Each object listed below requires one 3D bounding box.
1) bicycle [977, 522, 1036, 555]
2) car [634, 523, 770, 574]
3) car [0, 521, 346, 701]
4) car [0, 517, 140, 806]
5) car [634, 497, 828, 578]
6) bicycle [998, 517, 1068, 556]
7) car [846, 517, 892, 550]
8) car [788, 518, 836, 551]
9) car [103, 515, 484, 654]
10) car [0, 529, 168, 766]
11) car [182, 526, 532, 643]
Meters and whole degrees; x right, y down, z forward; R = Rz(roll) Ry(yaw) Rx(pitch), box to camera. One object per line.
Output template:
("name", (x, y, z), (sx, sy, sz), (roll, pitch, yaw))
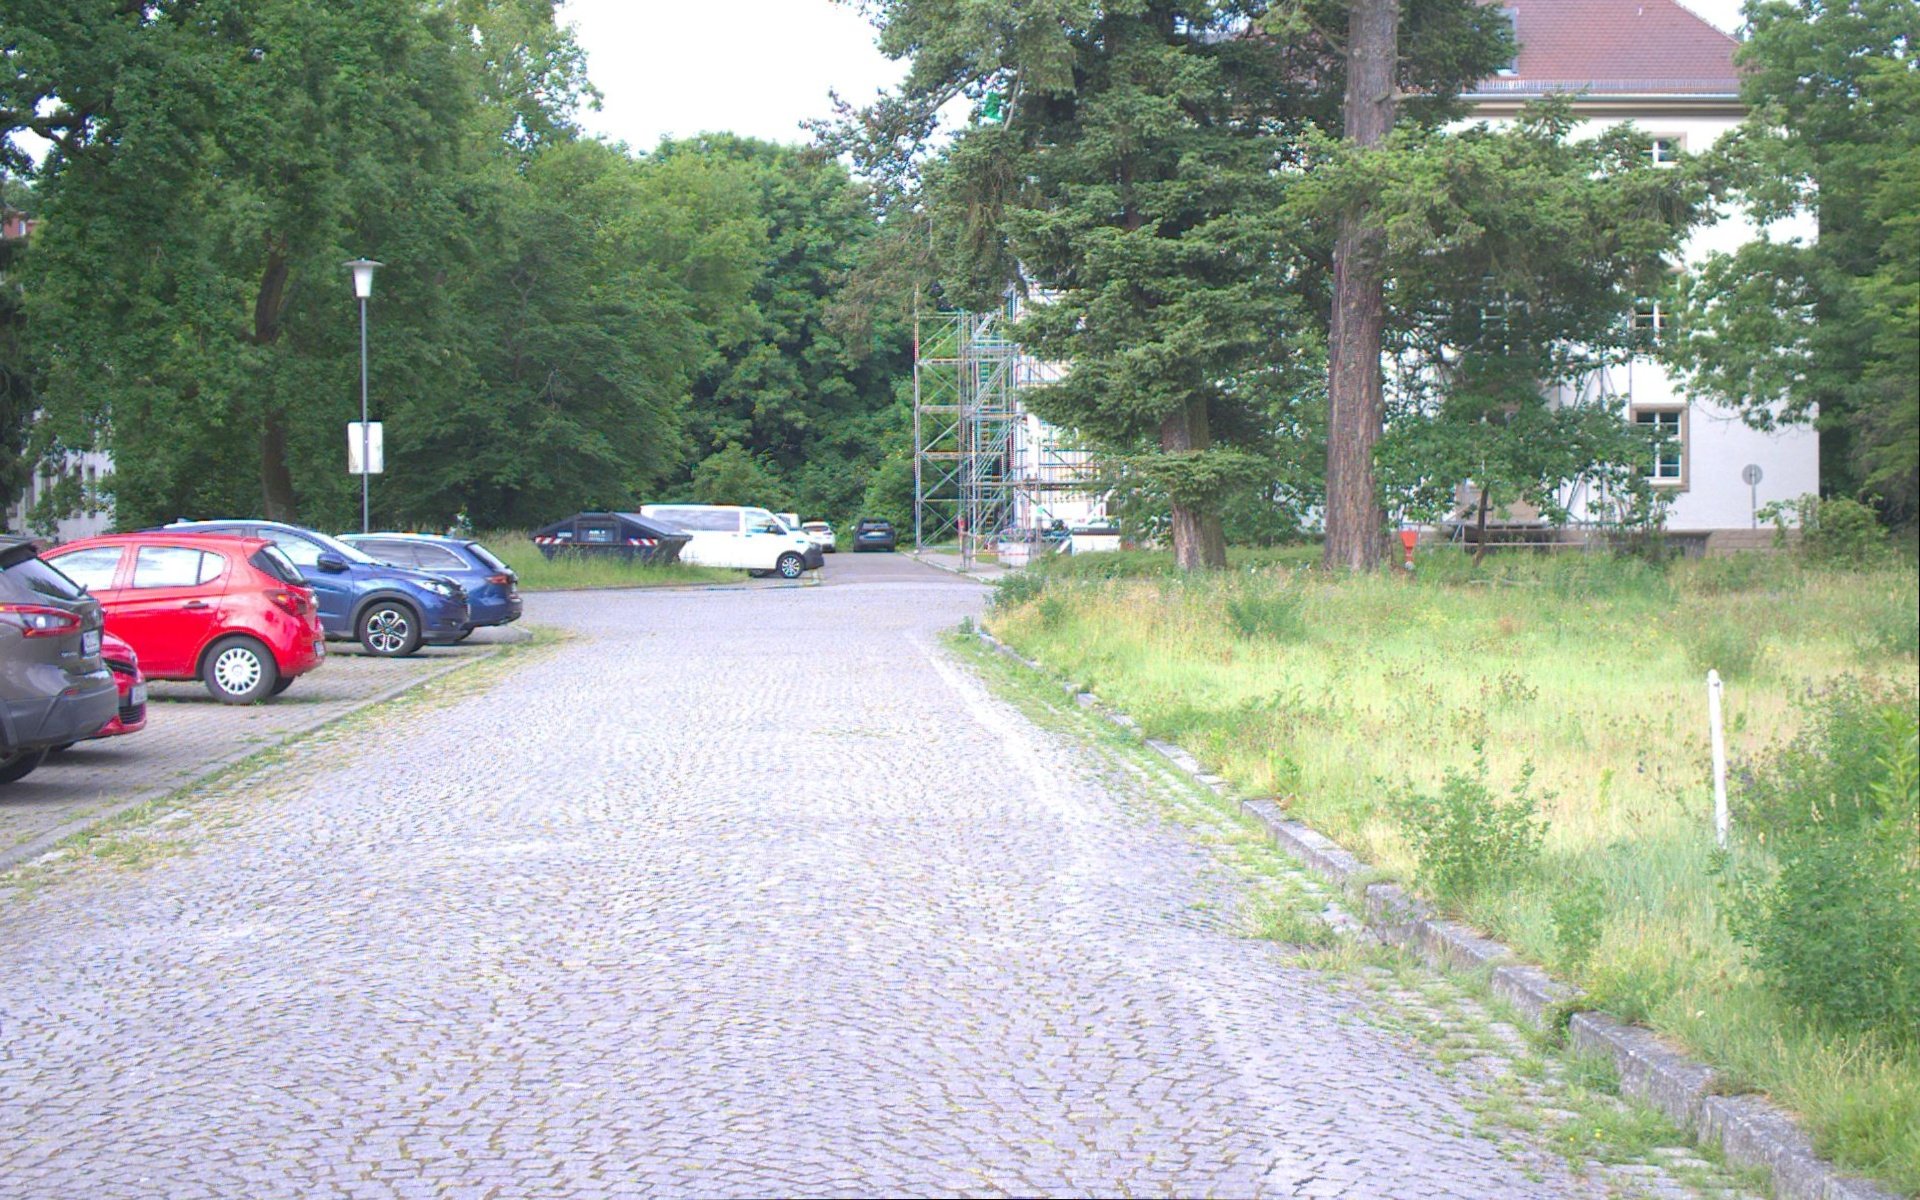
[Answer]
("bicycle", (1.799, -2.362, 132.659), (2.240, 1.250, 0.698), (0, 1, 0))
("car", (-7.280, -1.455, 96.967), (3.788, 1.390, 2.000), (0, 1, -5))
("car", (-7.615, 0.076, 30.531), (4.054, 1.520, 1.905), (-1, 2, -4))
("car", (-7.093, 0.343, 20.173), (4.165, 1.616, 1.987), (-1, 2, -5))
("car", (-6.305, -1.714, 94.403), (5.234, 2.160, 2.000), (0, 1, -5))
("bicycle", (2.374, -2.060, 111.955), (2.240, 1.250, 0.778), (0, 1, 0))
("car", (-4.258, -3.099, 160.815), (1.951, 1.516, 4.001), (0, 1, -4))
("car", (-6.921, -3.056, 160.419), (2.118, 1.516, 4.001), (0, 1, -4))
("car", (-7.857, -0.201, 40.815), (4.227, 1.571, 1.887), (1, 1, -4))
("car", (-7.553, 0.303, 22.898), (4.165, 1.505, 1.908), (-1, 2, -4))
("car", (-7.931, -0.215, 45.499), (4.302, 1.456, 1.975), (1, 1, -1))
